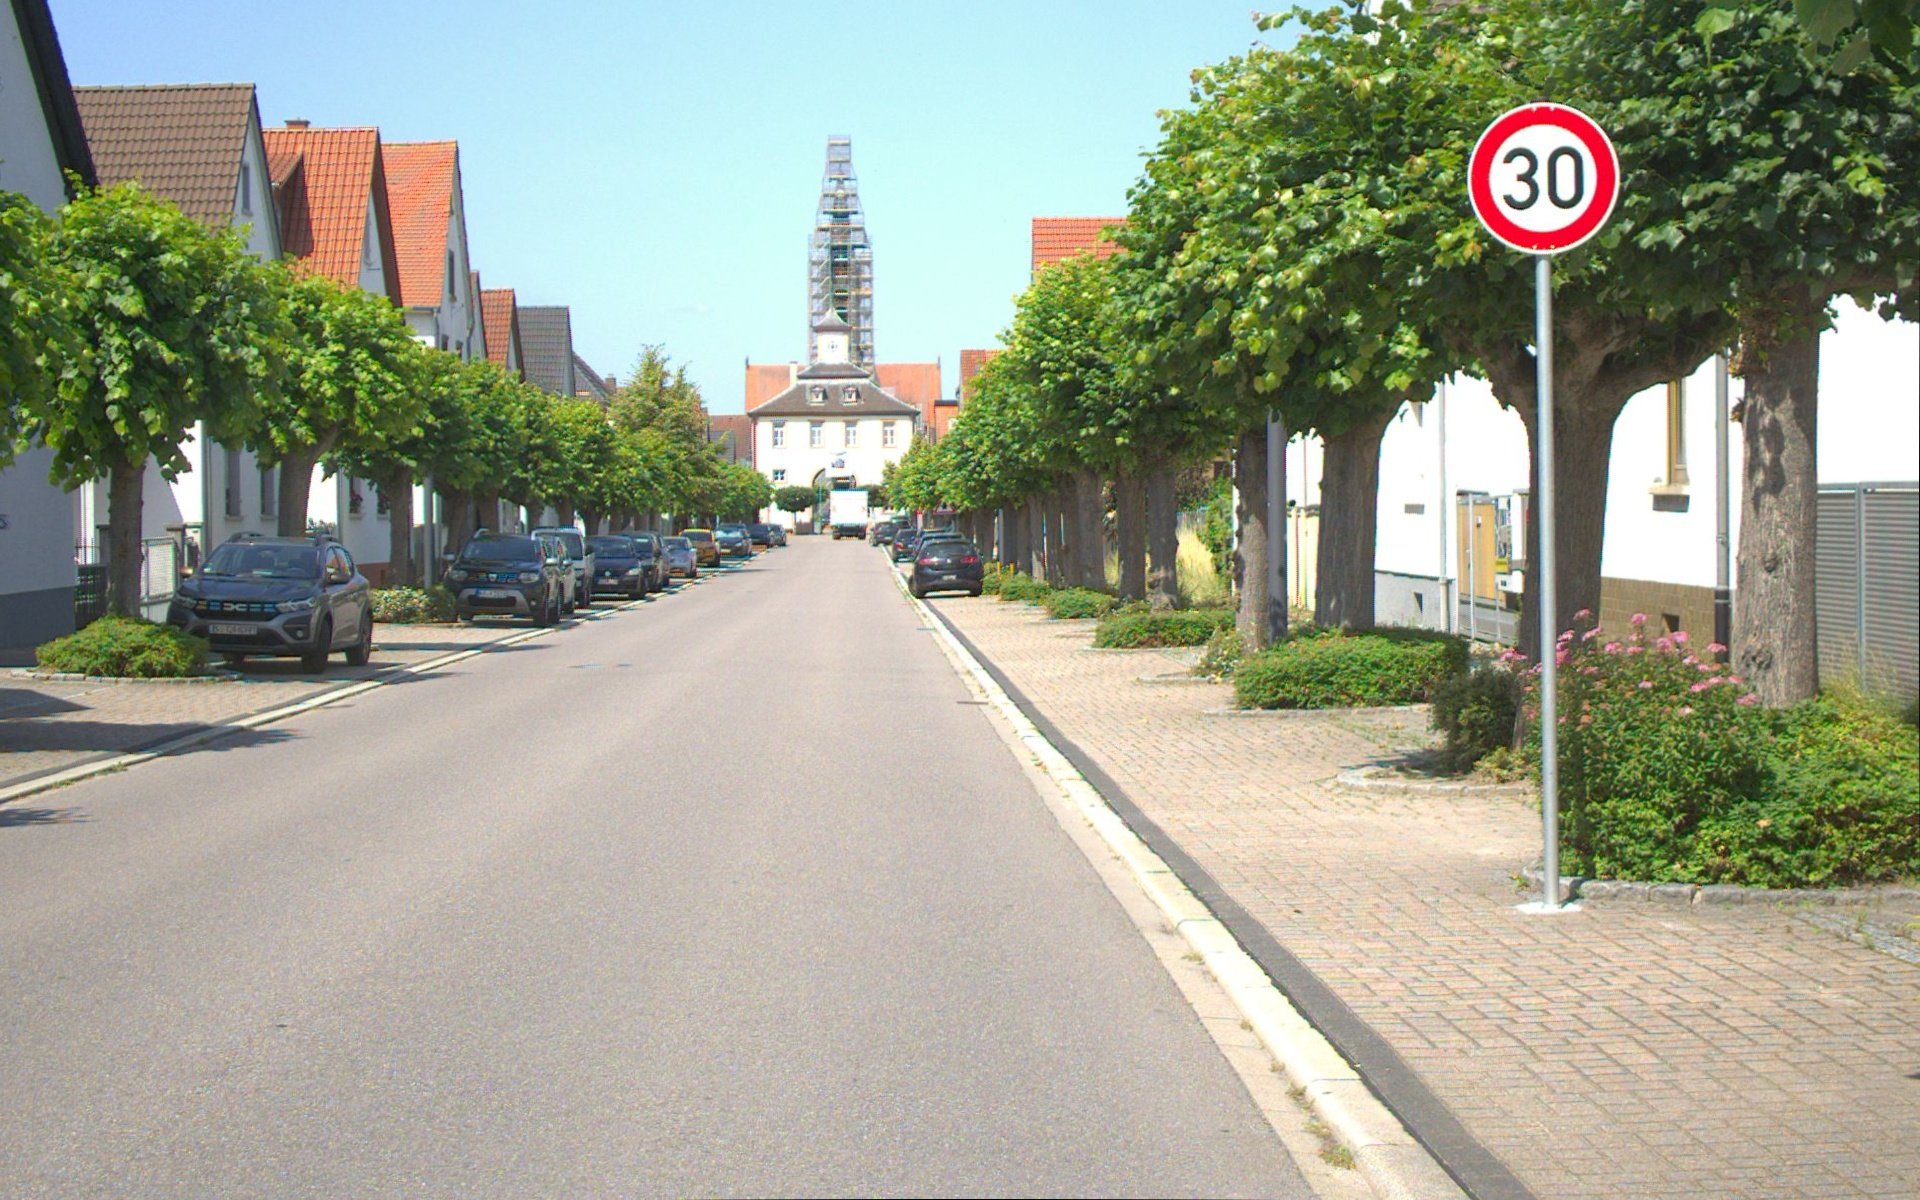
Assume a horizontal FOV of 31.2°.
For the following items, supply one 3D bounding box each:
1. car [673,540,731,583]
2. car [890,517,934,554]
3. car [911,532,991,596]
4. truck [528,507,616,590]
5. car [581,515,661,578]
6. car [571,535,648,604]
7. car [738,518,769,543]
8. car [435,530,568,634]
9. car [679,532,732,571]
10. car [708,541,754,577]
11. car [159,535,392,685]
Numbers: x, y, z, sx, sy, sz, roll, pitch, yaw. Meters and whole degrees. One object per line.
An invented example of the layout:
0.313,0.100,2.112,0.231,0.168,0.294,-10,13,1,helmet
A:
-8.876,-1.341,118.619,1.840,1.391,4.407,0,1,-2,car
-2.185,-2.936,155.573,1.837,1.550,4.314,-2,2,-2,car
-0.256,-0.923,86.084,1.824,1.427,4.057,-3,2,-2,car
-8.663,-1.173,76.978,1.576,1.759,4.193,2,1,-2,truck
-9.199,-1.455,93.463,1.853,1.629,4.057,1,1,-2,car
-8.727,-0.771,85.395,1.785,1.628,4.001,1,1,-7,car
-12.735,-4.304,212.392,1.757,1.550,4.020,0,2,-1,car
-8.028,-0.345,60.493,1.853,1.630,4.300,2,2,-2,car
-10.910,-2.095,147.619,1.993,1.606,4.689,1,1,-1,car
-11.281,-2.034,169.581,1.993,1.606,4.689,2,2,-1,car
-7.946,0.071,40.280,1.853,1.607,4.135,2,1,0,car
